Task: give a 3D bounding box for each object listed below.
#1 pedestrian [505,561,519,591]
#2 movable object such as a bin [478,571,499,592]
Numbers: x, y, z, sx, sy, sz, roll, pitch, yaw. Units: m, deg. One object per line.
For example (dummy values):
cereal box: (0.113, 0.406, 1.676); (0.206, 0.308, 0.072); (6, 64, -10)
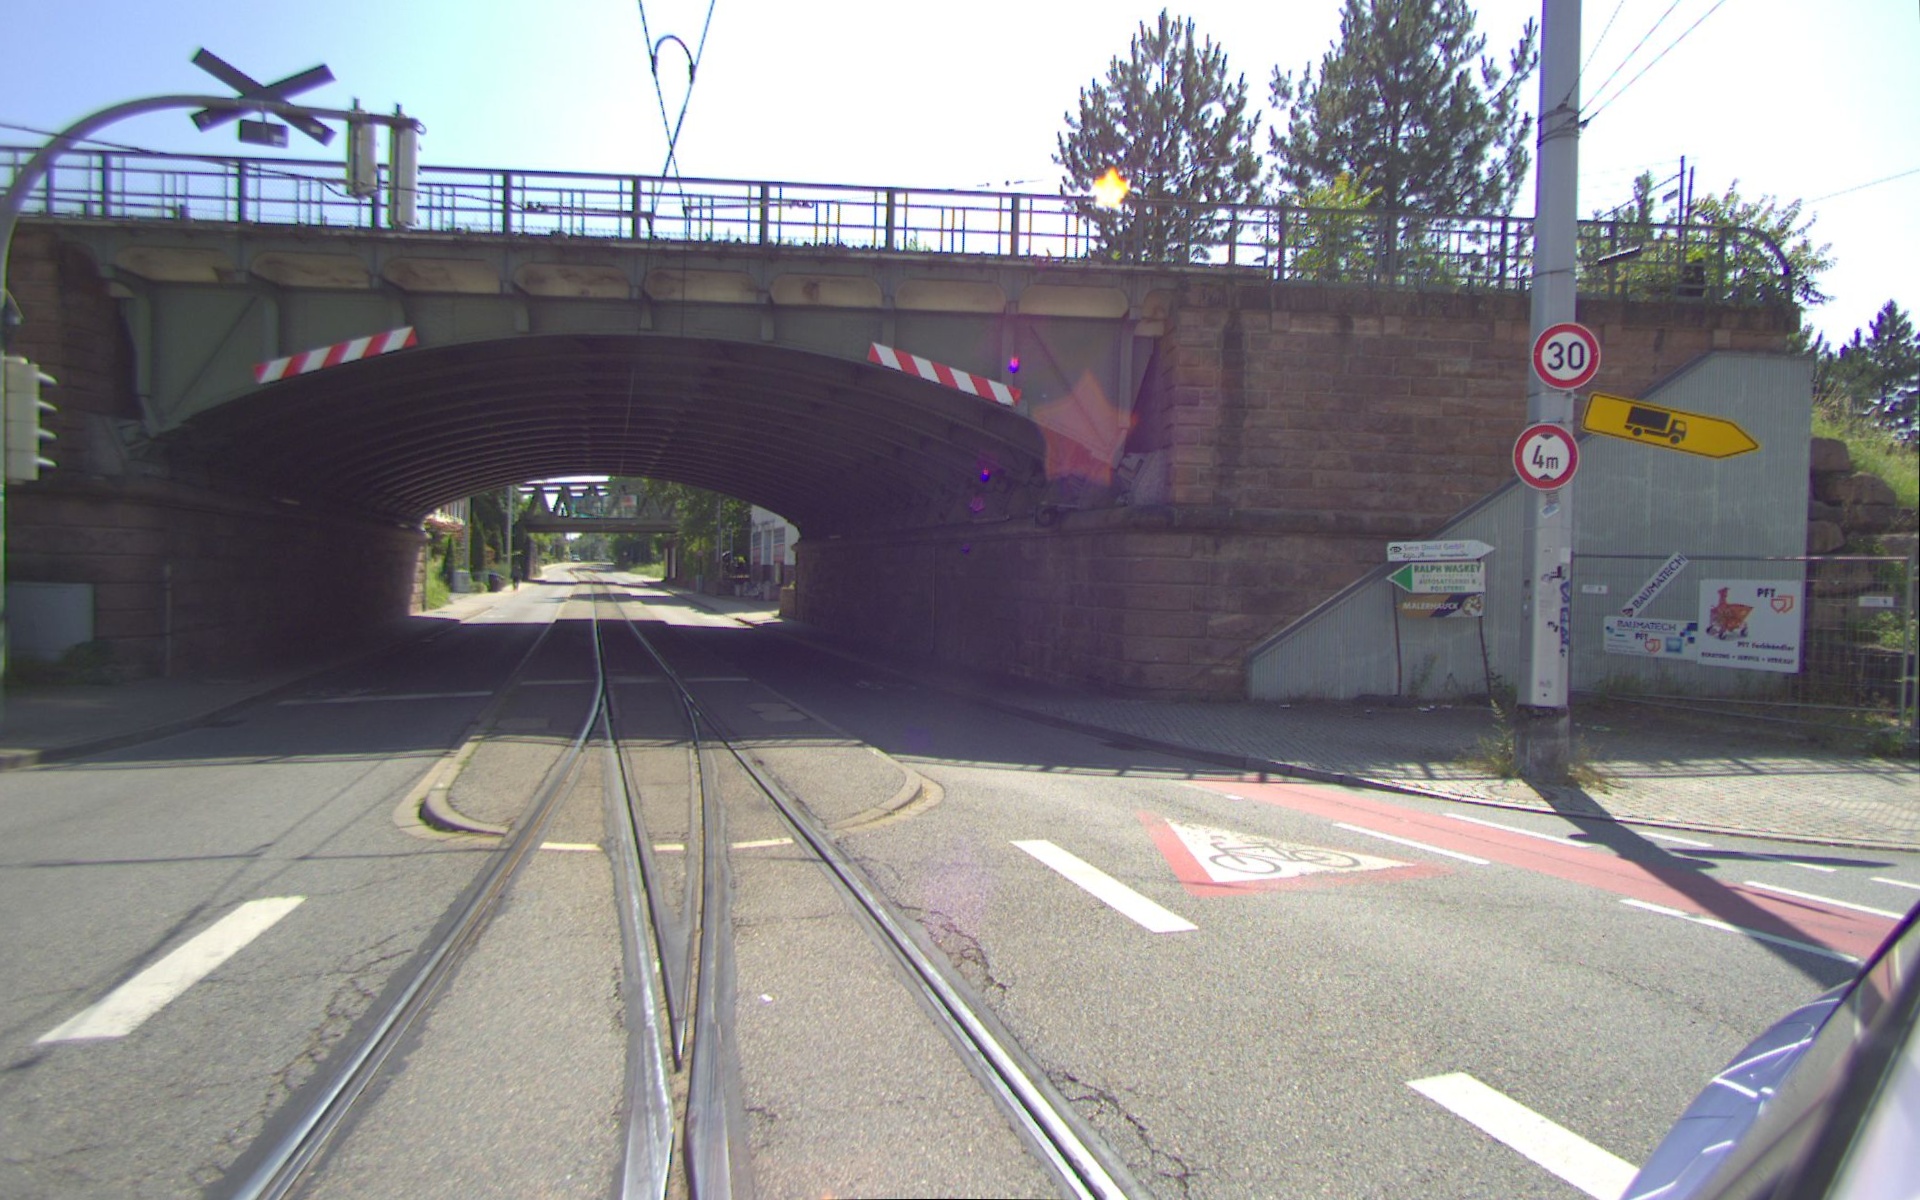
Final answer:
pedestrian: (-27.592, -1.485, 62.347); (0.727, 1.840, 0.853); (1, 1, -22)
movable object such as a bin: (-27.309, -1.054, 58.650); (1.018, 1.177, 0.976); (1, 1, -22)
